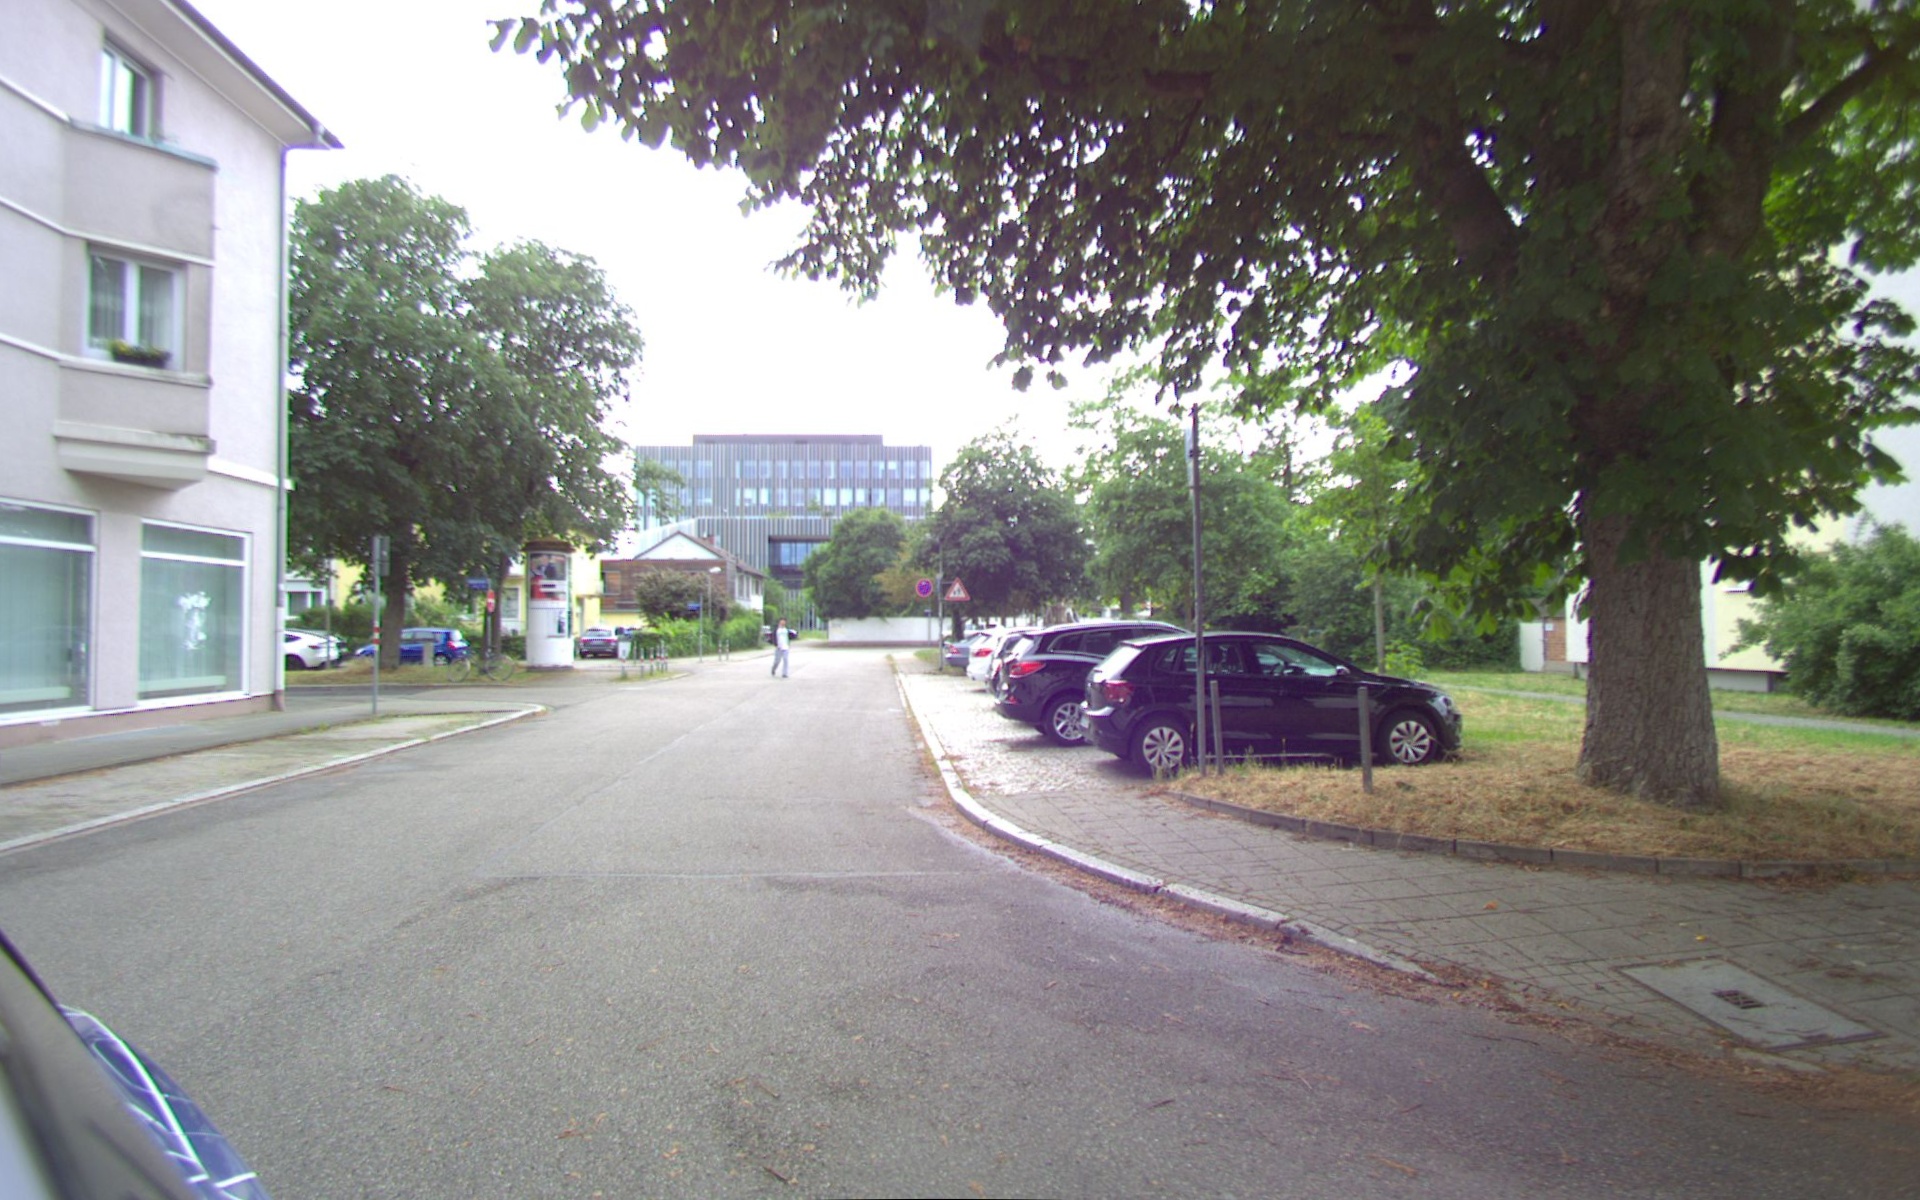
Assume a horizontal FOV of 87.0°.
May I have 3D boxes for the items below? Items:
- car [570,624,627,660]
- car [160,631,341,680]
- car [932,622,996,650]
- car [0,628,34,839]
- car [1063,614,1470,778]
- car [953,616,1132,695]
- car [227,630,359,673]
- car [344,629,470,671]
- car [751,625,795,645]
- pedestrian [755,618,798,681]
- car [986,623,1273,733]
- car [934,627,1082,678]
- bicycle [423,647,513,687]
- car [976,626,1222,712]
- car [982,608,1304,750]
[{"bbox_3d":[-17.018,1.966,47.848,1.814,1.623,4.007,0,-2,-9],"label":"car"},{"bbox_3d":[-24.555,1.893,35.191,4.805,1.578,1.907,0,-2,-9],"label":"car"},{"bbox_3d":[0.292,2.611,73.861,4.422,1.873,2.004,-1,1,-8],"label":"car"},{"bbox_3d":[-7.590,0.932,5.480,1.736,1.501,3.940,-1,-1,-4],"label":"car"},{"bbox_3d":[3.143,0.983,10.981,3.787,1.589,1.831,0,-2,-2],"label":"car"},{"bbox_3d":[1.980,1.340,25.218,4.086,1.572,1.886,-4,0,-4],"label":"car"},{"bbox_3d":[-26.672,2.036,40.585,4.099,1.511,1.723,-1,1,-10],"label":"car"},{"bbox_3d":[-22.326,2.004,40.977,4.145,1.578,1.707,0,0,-5],"label":"car"},{"bbox_3d":[-18.167,3.399,98.499,3.941,1.851,2.002,-1,1,-3],"label":"car"},{"bbox_3d":[-5.586,1.487,30.779,0.864,1.850,1.222,1,-2,-33],"label":"pedestrian"},{"bbox_3d":[2.630,1.214,16.498,4.295,1.578,1.841,-2,-1,0],"label":"car"},{"bbox_3d":[1.510,1.670,32.746,4.487,1.465,1.683,-1,-1,-9],"label":"car"},{"bbox_3d":[-13.414,1.818,27.653,2.146,0.993,0.513,-1,1,-12],"label":"bicycle"},{"bbox_3d":[2.602,1.315,19.781,4.495,1.475,1.841,-2,-1,0],"label":"car"},{"bbox_3d":[2.365,1.036,13.948,4.011,1.710,1.916,-2,-1,0],"label":"car"}]
